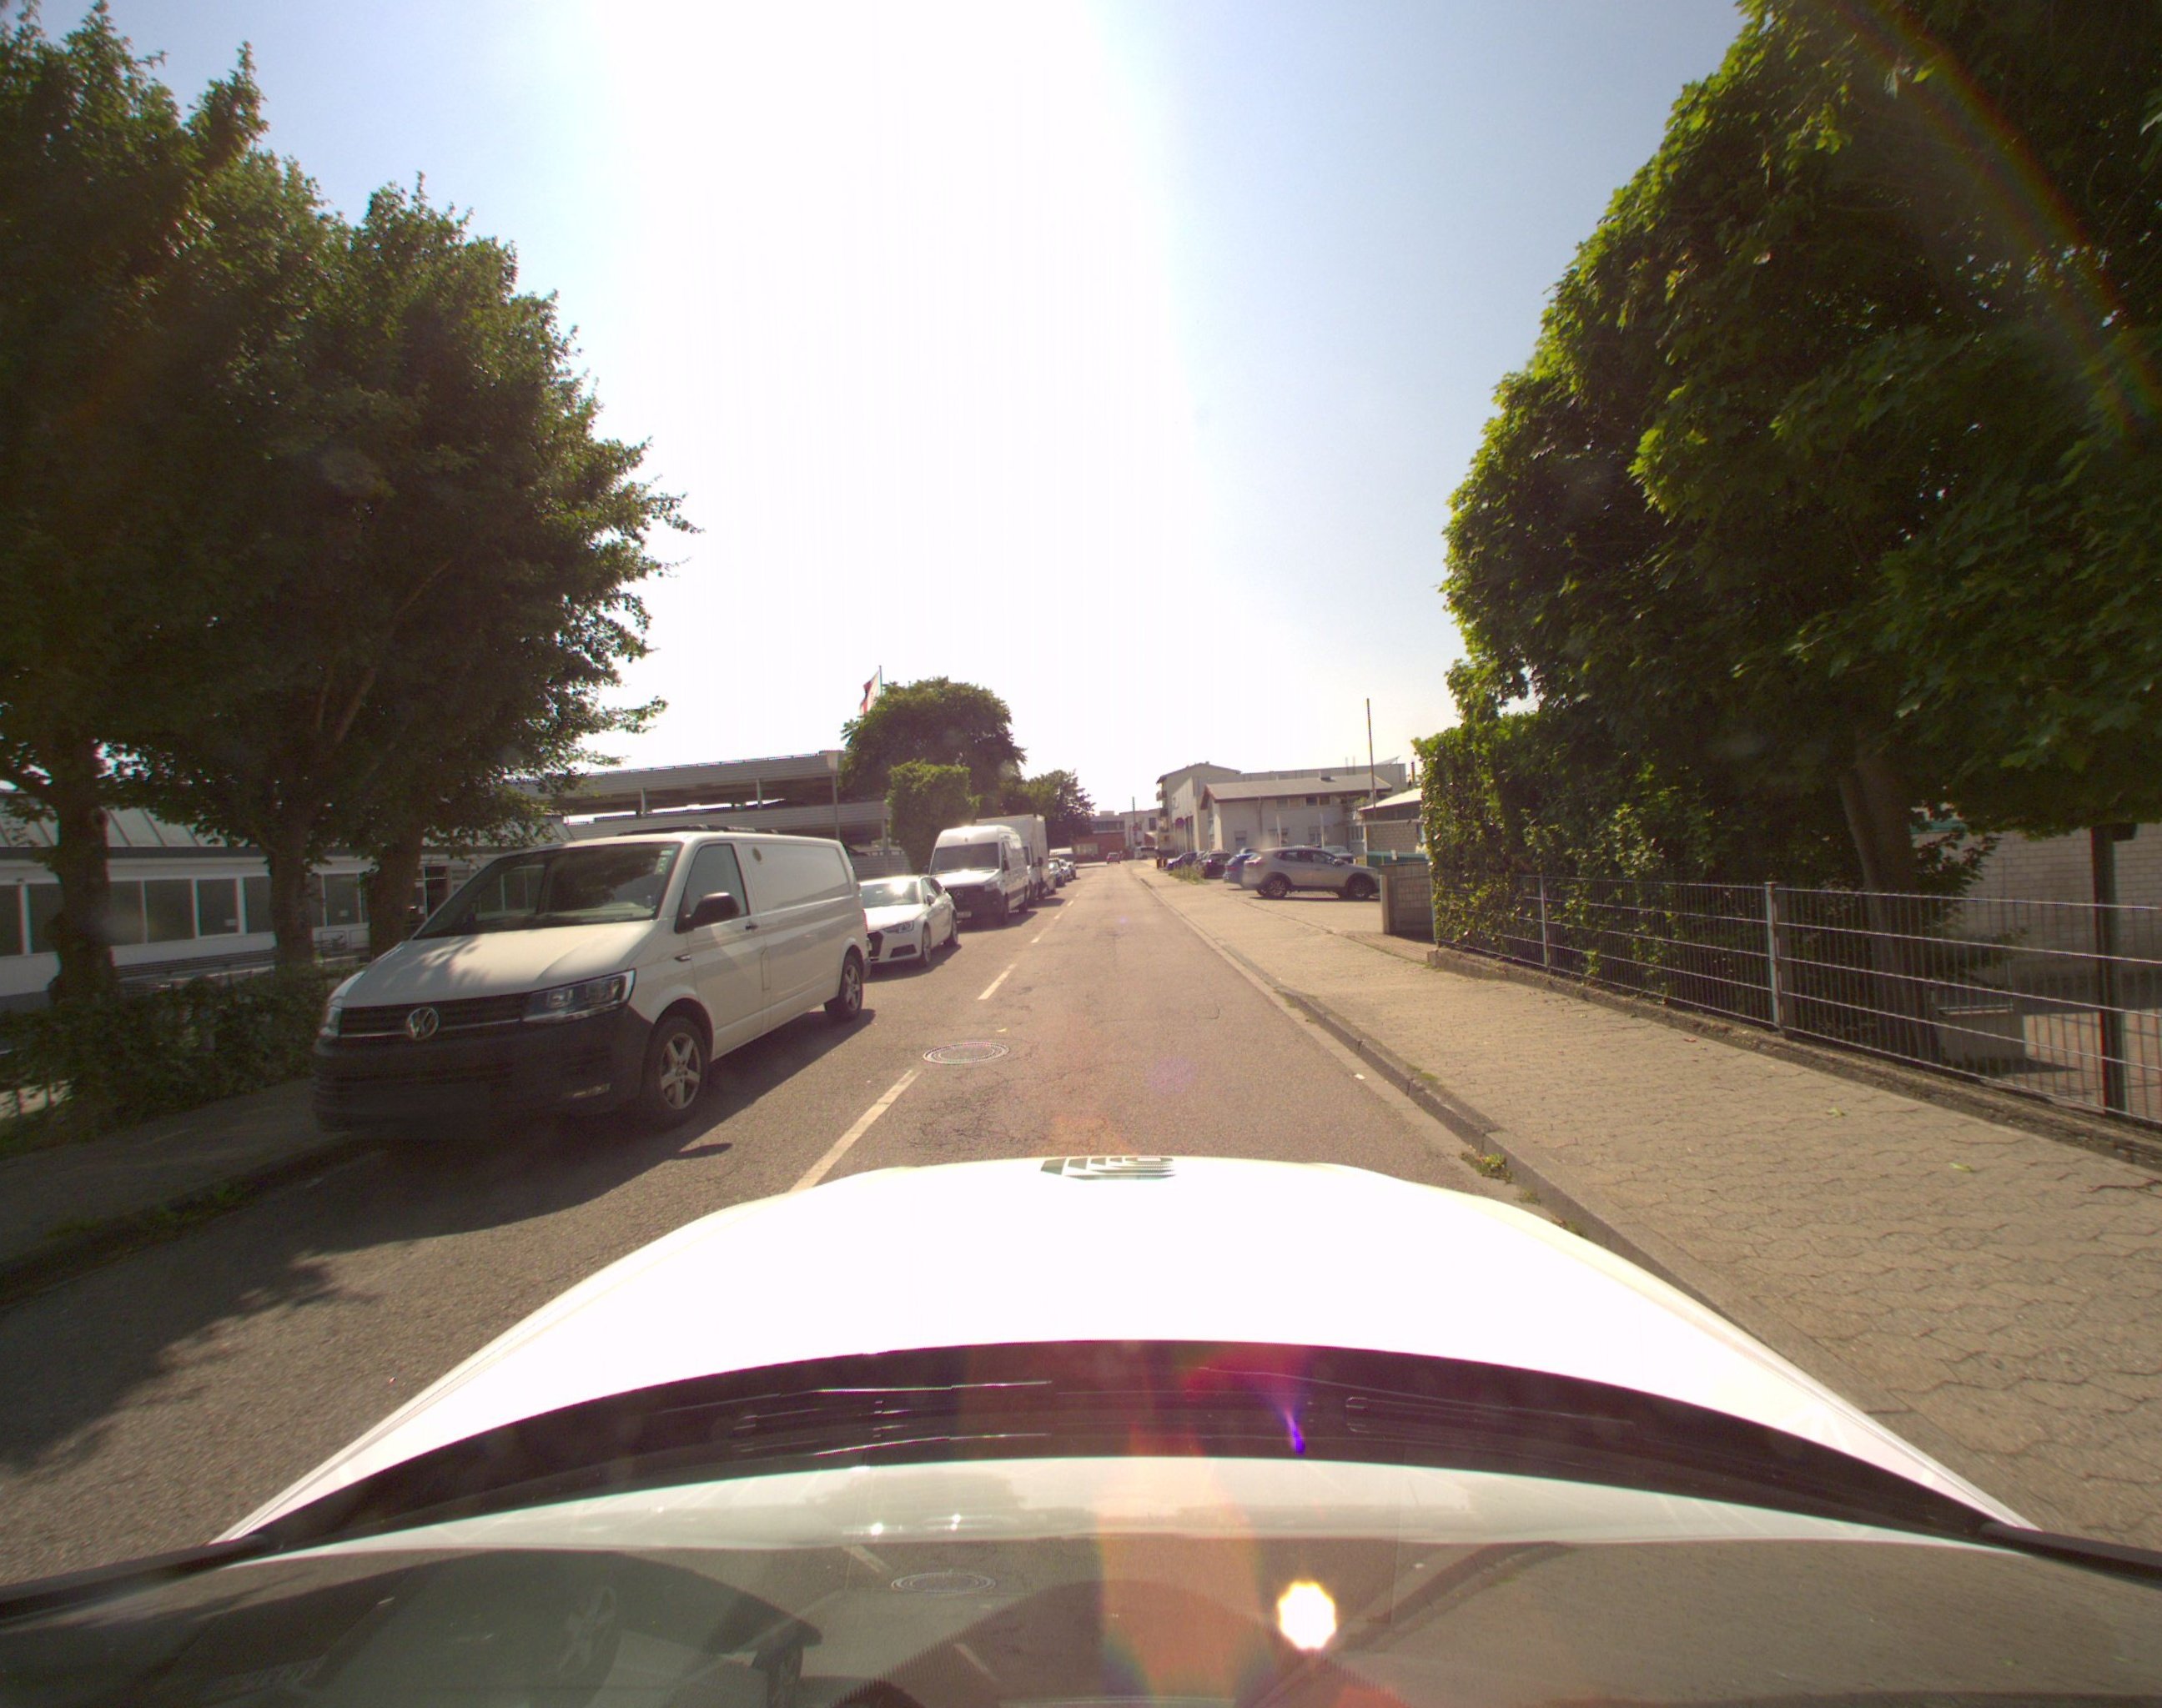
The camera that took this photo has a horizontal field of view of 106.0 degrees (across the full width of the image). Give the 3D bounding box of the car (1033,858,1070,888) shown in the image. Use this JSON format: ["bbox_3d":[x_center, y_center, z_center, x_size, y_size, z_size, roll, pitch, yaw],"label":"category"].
[{"bbox_3d":[-1.659,1.076,47.133,1.698,1.463,4.117,-5,0,2],"label":"car"}]

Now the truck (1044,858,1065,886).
[{"bbox_3d":[-1.710,1.158,52.922,1.135,1.622,3.141,-6,0,0],"label":"truck"}]

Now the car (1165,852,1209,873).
[{"bbox_3d":[8.199,0.665,63.186,3.240,1.398,1.674,-4,0,2],"label":"car"}]

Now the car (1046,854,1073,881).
[{"bbox_3d":[-1.512,0.921,56.529,1.700,1.624,3.970,-5,0,-3],"label":"car"}]

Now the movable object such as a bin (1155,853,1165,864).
[{"bbox_3d":[6.857,0.376,70.827,0.562,0.946,0.561,-4,0,35],"label":"movable object such as a bin"}]

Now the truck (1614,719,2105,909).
[{"bbox_3d":[17.825,-0.837,19.207,8.237,3.611,2.957,-4,0,4],"label":"truck"}]

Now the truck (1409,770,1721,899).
[{"bbox_3d":[13.755,-0.521,23.598,7.489,3.423,2.528,-1,0,2],"label":"truck"}]

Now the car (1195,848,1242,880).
[{"bbox_3d":[7.635,0.508,45.746,1.851,1.567,4.953,-4,0,2],"label":"car"}]

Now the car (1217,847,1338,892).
[{"bbox_3d":[7.773,0.597,32.540,4.337,1.441,1.893,-4,0,1],"label":"car"}]

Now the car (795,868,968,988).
[{"bbox_3d":[-3.221,1.114,14.083,1.708,1.543,4.401,-5,0,1],"label":"car"}]

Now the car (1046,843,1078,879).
[{"bbox_3d":[-1.365,0.492,61.706,1.999,2.366,5.229,-7,0,0],"label":"car"}]

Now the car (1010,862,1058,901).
[{"bbox_3d":[-2.087,1.203,37.299,1.735,1.521,4.312,-4,0,2],"label":"car"}]

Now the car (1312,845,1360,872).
[{"bbox_3d":[14.000,0.201,44.909,1.634,1.324,4.106,-4,0,5],"label":"car"}]

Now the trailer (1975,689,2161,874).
[{"bbox_3d":[26.380,-1.795,18.316,8.289,3.862,3.074,-4,-1,7],"label":"trailer"}]

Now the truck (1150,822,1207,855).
[{"bbox_3d":[13.645,-2.152,114.278,7.346,3.644,2.764,-7,1,-4],"label":"truck"}]

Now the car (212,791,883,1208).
[{"bbox_3d":[-3.444,0.783,6.824,1.964,2.013,5.059,-6,-1,2],"label":"car"}]

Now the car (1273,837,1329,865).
[{"bbox_3d":[13.835,-0.168,51.433,1.759,1.495,4.137,-6,0,-9],"label":"car"}]

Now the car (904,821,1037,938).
[{"bbox_3d":[-2.820,0.618,22.811,2.159,2.595,6.926,-5,-1,3],"label":"car"}]

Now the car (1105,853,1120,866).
[{"bbox_3d":[4.354,0.753,113.138,1.884,1.685,3.957,-4,-1,0],"label":"car"}]

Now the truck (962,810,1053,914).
[{"bbox_3d":[-2.614,0.305,31.335,2.677,3.366,7.127,-5,-1,-1],"label":"truck"}]

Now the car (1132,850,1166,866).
[{"bbox_3d":[10.233,0.569,122.590,4.666,1.957,1.905,-5,-1,-17],"label":"car"}]

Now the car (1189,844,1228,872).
[{"bbox_3d":[8.003,0.221,51.296,1.805,1.558,4.294,-4,0,1],"label":"car"}]

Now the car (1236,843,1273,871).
[{"bbox_3d":[10.326,0.131,48.627,1.751,1.595,3.625,-1,1,5],"label":"car"}]

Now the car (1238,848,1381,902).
[{"bbox_3d":[7.359,0.652,26.482,4.186,1.682,1.767,0,-1,1],"label":"car"}]

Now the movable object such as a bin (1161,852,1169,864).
[{"bbox_3d":[7.366,0.365,71.224,0.510,0.946,0.489,-5,0,13],"label":"movable object such as a bin"}]
